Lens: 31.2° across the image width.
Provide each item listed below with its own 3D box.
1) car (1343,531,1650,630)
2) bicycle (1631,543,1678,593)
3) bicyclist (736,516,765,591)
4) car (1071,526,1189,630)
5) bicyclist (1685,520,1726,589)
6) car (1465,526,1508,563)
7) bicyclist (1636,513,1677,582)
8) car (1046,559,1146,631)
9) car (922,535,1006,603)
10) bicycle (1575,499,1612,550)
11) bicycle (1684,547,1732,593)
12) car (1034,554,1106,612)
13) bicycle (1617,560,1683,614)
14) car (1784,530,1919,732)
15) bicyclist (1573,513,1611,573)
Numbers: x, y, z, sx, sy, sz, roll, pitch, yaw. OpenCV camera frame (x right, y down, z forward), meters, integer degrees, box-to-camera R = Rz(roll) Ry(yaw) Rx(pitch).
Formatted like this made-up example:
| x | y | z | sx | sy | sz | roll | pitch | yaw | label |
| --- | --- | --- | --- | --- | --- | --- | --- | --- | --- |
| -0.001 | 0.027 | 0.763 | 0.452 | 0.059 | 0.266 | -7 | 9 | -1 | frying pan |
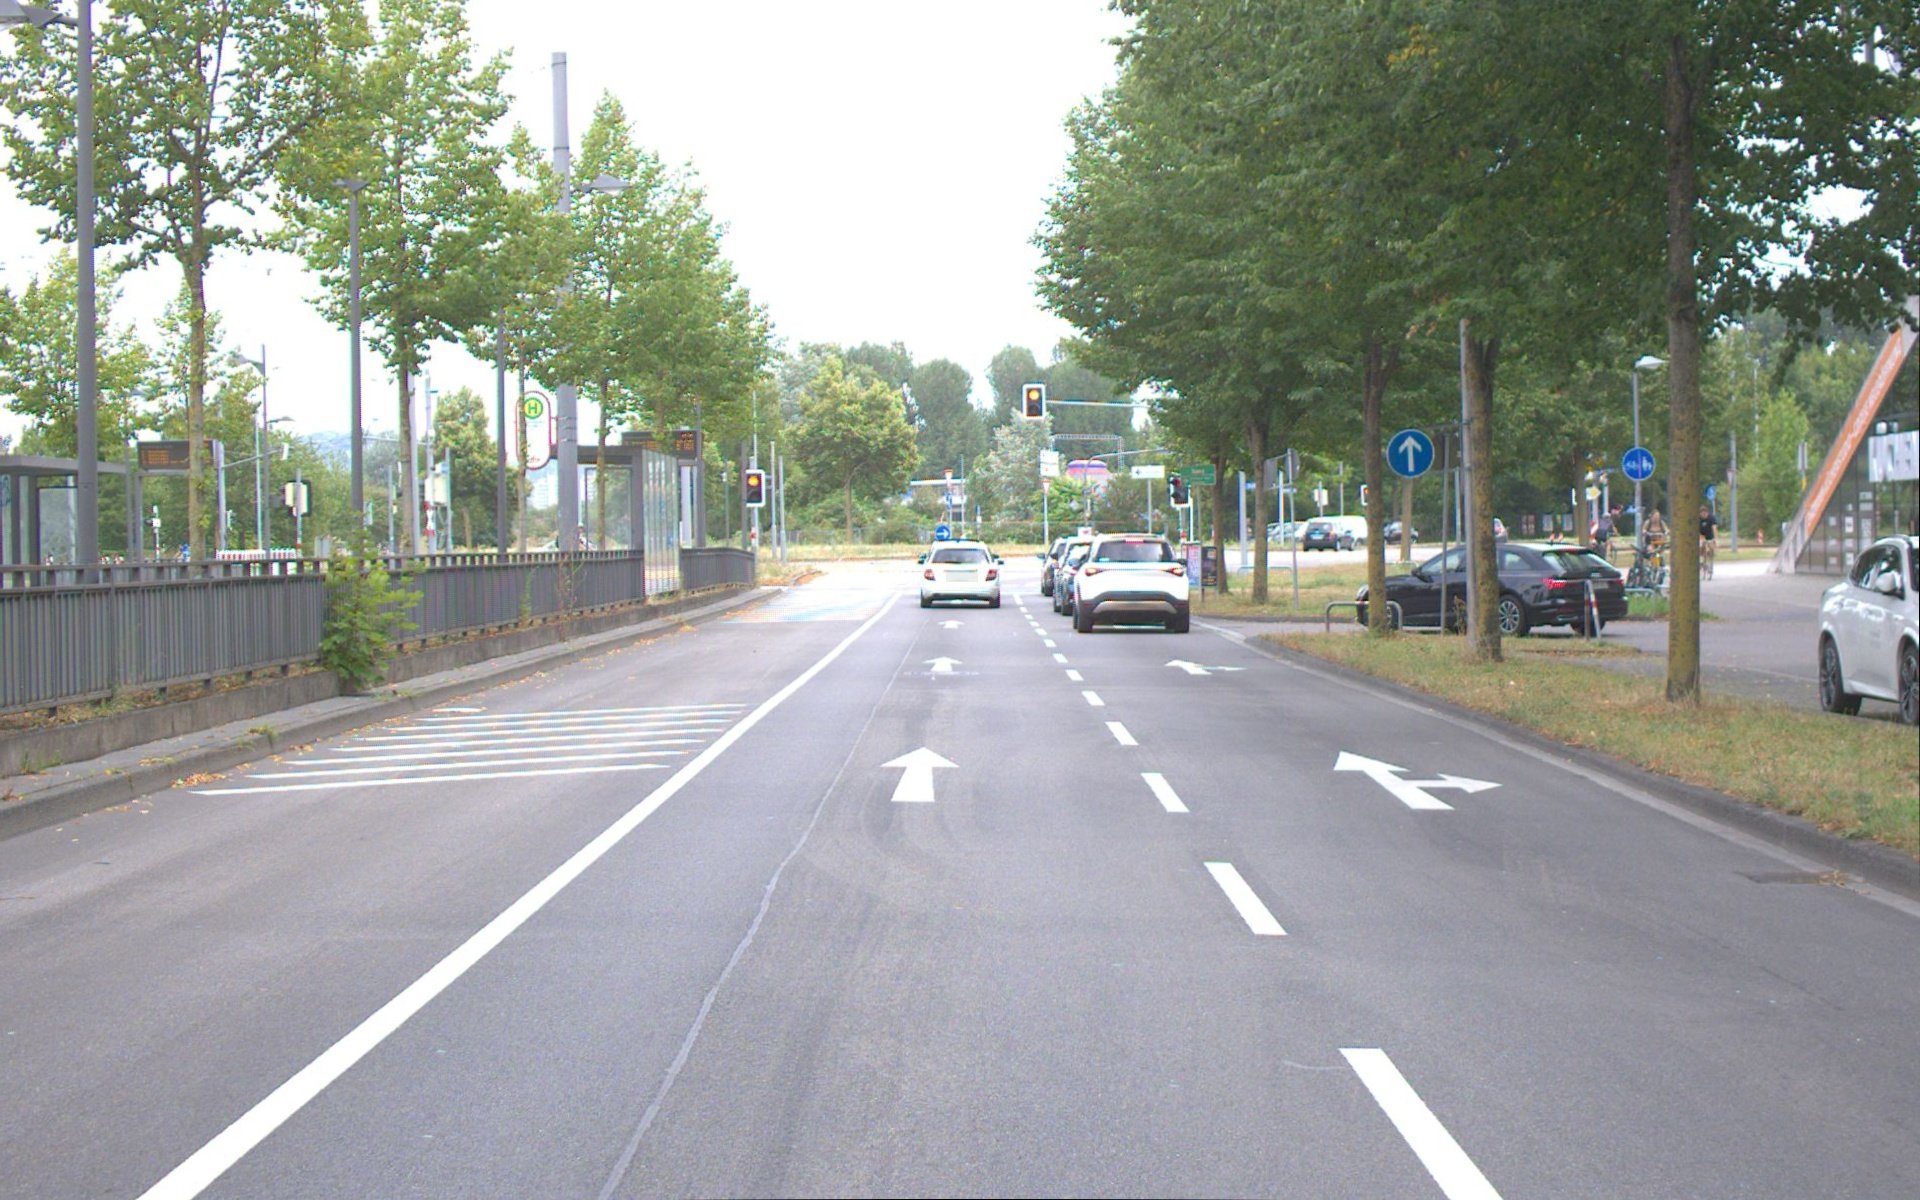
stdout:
| x | y | z | sx | sy | sz | roll | pitch | yaw | label |
| --- | --- | --- | --- | --- | --- | --- | --- | --- | --- |
| 8.375 | -0.306 | 54.105 | 1.941 | 1.470 | 4.870 | -1 | 1 | -34 | car |
| 16.070 | -0.741 | 79.542 | 0.673 | 1.139 | 2.007 | -1 | 1 | 0 | bicycle |
| -5.591 | -1.245 | 91.802 | 0.728 | 1.877 | 0.735 | -1 | 13 | -1 | bicyclist |
| 2.810 | -0.380 | 57.590 | 1.779 | 1.651 | 4.023 | -1 | 1 | 1 | car |
| 17.237 | -1.048 | 79.549 | 0.724 | 1.577 | 0.990 | -1 | 1 | 1 | bicyclist |
| 23.835 | -2.523 | 155.511 | 1.784 | 1.630 | 4.400 | -1 | 1 | 10 | car |
| 16.080 | -1.205 | 79.370 | 0.724 | 1.577 | 0.990 | -1 | 1 | 0 | bicyclist |
| 2.822 | -0.128 | 72.181 | 1.787 | 1.427 | 4.311 | 0 | 1 | -2 | car |
| 0.061 | -0.713 | 76.926 | 1.773 | 1.443 | 3.911 | -1 | 1 | -1 | car |
| 18.805 | -2.228 | 102.150 | 0.705 | 1.500 | 2.008 | 0 | 1 | 0 | bicycle |
| 17.262 | -0.699 | 79.393 | 0.673 | 1.038 | 2.007 | -1 | 1 | 0 | bicycle |
| 2.787 | -0.452 | 88.081 | 1.624 | 1.443 | 3.911 | 0 | 1 | -1 | car |
| 12.581 | -0.252 | 62.699 | 0.629 | 0.952 | 2.108 | -1 | 1 | -4 | bicycle |
| 8.324 | 0.196 | 28.259 | 1.938 | 1.546 | 4.594 | -1 | 1 | 0 | car |
| 18.784 | -1.697 | 102.157 | 0.866 | 1.783 | 1.175 | -1 | 1 | -1 | bicyclist |
